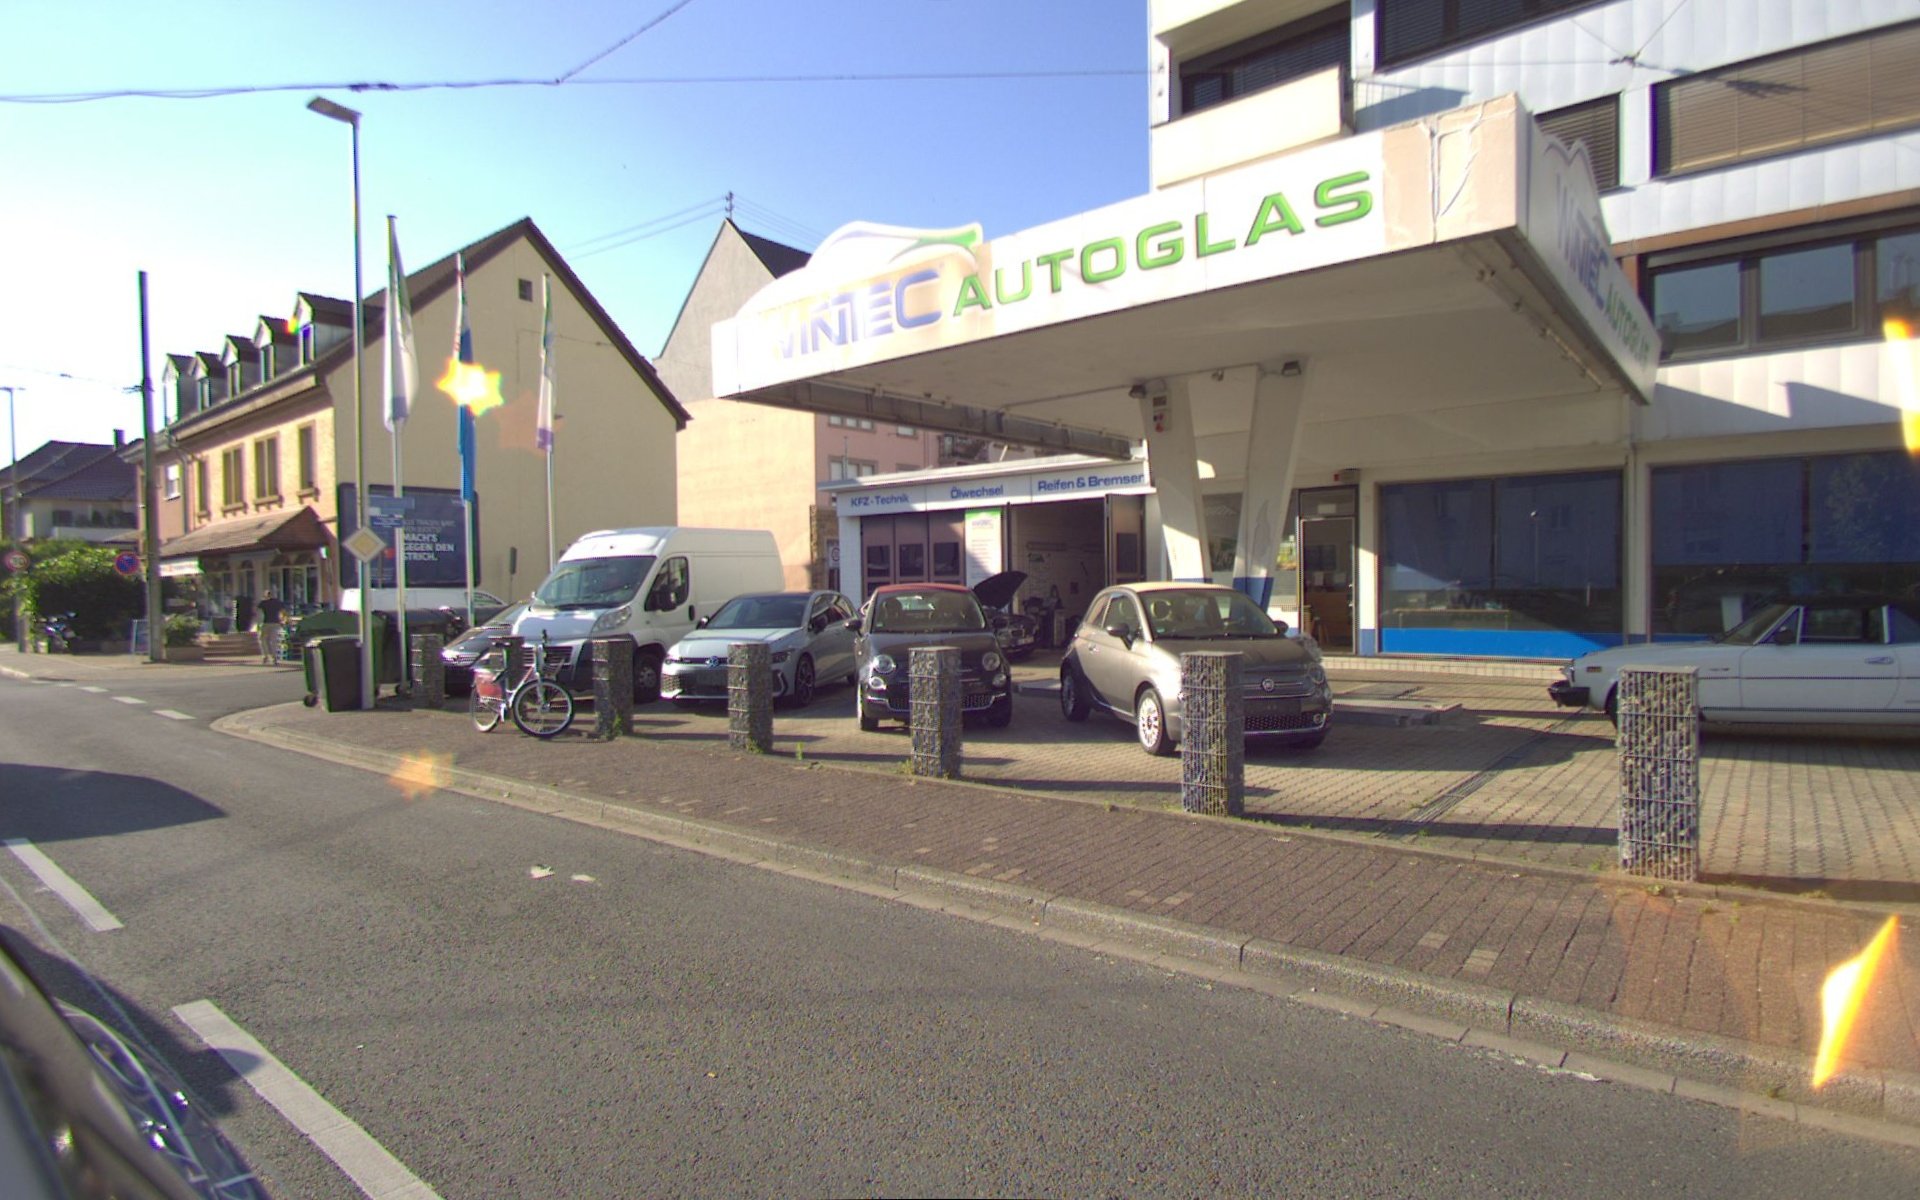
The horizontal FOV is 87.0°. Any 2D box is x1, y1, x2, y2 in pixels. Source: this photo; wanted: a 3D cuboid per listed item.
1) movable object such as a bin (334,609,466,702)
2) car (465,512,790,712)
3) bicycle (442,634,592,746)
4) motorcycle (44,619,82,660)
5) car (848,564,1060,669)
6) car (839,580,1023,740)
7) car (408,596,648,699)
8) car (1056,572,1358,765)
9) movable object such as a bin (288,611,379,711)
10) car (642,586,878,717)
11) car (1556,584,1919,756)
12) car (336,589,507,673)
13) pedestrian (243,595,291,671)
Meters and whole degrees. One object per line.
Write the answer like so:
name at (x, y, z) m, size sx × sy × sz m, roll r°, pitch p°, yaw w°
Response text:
movable object such as a bin at (-9.567, 0.916, 17.365) m, size 1.039 × 1.475 × 1.787 m, roll -1°, pitch 0°, yaw 15°
car at (-4.679, 0.132, 15.219) m, size 2.098 × 2.472 × 4.963 m, roll -1°, pitch 0°, yaw 18°
bicycle at (-4.887, 0.942, 11.117) m, size 1.789 × 1.094 × 0.716 m, roll -1°, pitch 1°, yaw 37°
motorcycle at (-27.957, 1.207, 31.525) m, size 2.186 × 1.226 × 0.699 m, roll -1°, pitch 0°, yaw 43°
car at (-0.197, 0.321, 20.915) m, size 4.255 × 1.958 × 1.720 m, roll -1°, pitch 0°, yaw 40°
car at (-0.474, 0.565, 11.503) m, size 1.569 × 1.508 × 3.443 m, roll -1°, pitch 0°, yaw -10°
car at (-7.053, 0.705, 17.004) m, size 1.725 × 1.488 × 4.016 m, roll -1°, pitch 0°, yaw 12°
car at (2.162, 0.535, 9.789) m, size 1.517 × 1.497 × 3.381 m, roll -1°, pitch 0°, yaw -11°
movable object such as a bin at (-9.697, 0.918, 15.709) m, size 1.030 × 1.475 × 0.798 m, roll -1°, pitch 0°, yaw -18°
car at (-2.523, 0.589, 13.800) m, size 1.725 × 1.508 × 4.016 m, roll -1°, pitch 0°, yaw 12°
car at (7.394, 0.542, 8.566) m, size 3.898 × 1.308 × 1.506 m, roll -1°, pitch -1°, yaw 37°
car at (-13.884, 0.740, 26.248) m, size 1.449 × 2.029 × 3.628 m, roll -1°, pitch 0°, yaw 37°
pedestrian at (-17.517, 0.811, 25.572) m, size 0.766 × 1.866 × 0.812 m, roll -1°, pitch 0°, yaw 40°
